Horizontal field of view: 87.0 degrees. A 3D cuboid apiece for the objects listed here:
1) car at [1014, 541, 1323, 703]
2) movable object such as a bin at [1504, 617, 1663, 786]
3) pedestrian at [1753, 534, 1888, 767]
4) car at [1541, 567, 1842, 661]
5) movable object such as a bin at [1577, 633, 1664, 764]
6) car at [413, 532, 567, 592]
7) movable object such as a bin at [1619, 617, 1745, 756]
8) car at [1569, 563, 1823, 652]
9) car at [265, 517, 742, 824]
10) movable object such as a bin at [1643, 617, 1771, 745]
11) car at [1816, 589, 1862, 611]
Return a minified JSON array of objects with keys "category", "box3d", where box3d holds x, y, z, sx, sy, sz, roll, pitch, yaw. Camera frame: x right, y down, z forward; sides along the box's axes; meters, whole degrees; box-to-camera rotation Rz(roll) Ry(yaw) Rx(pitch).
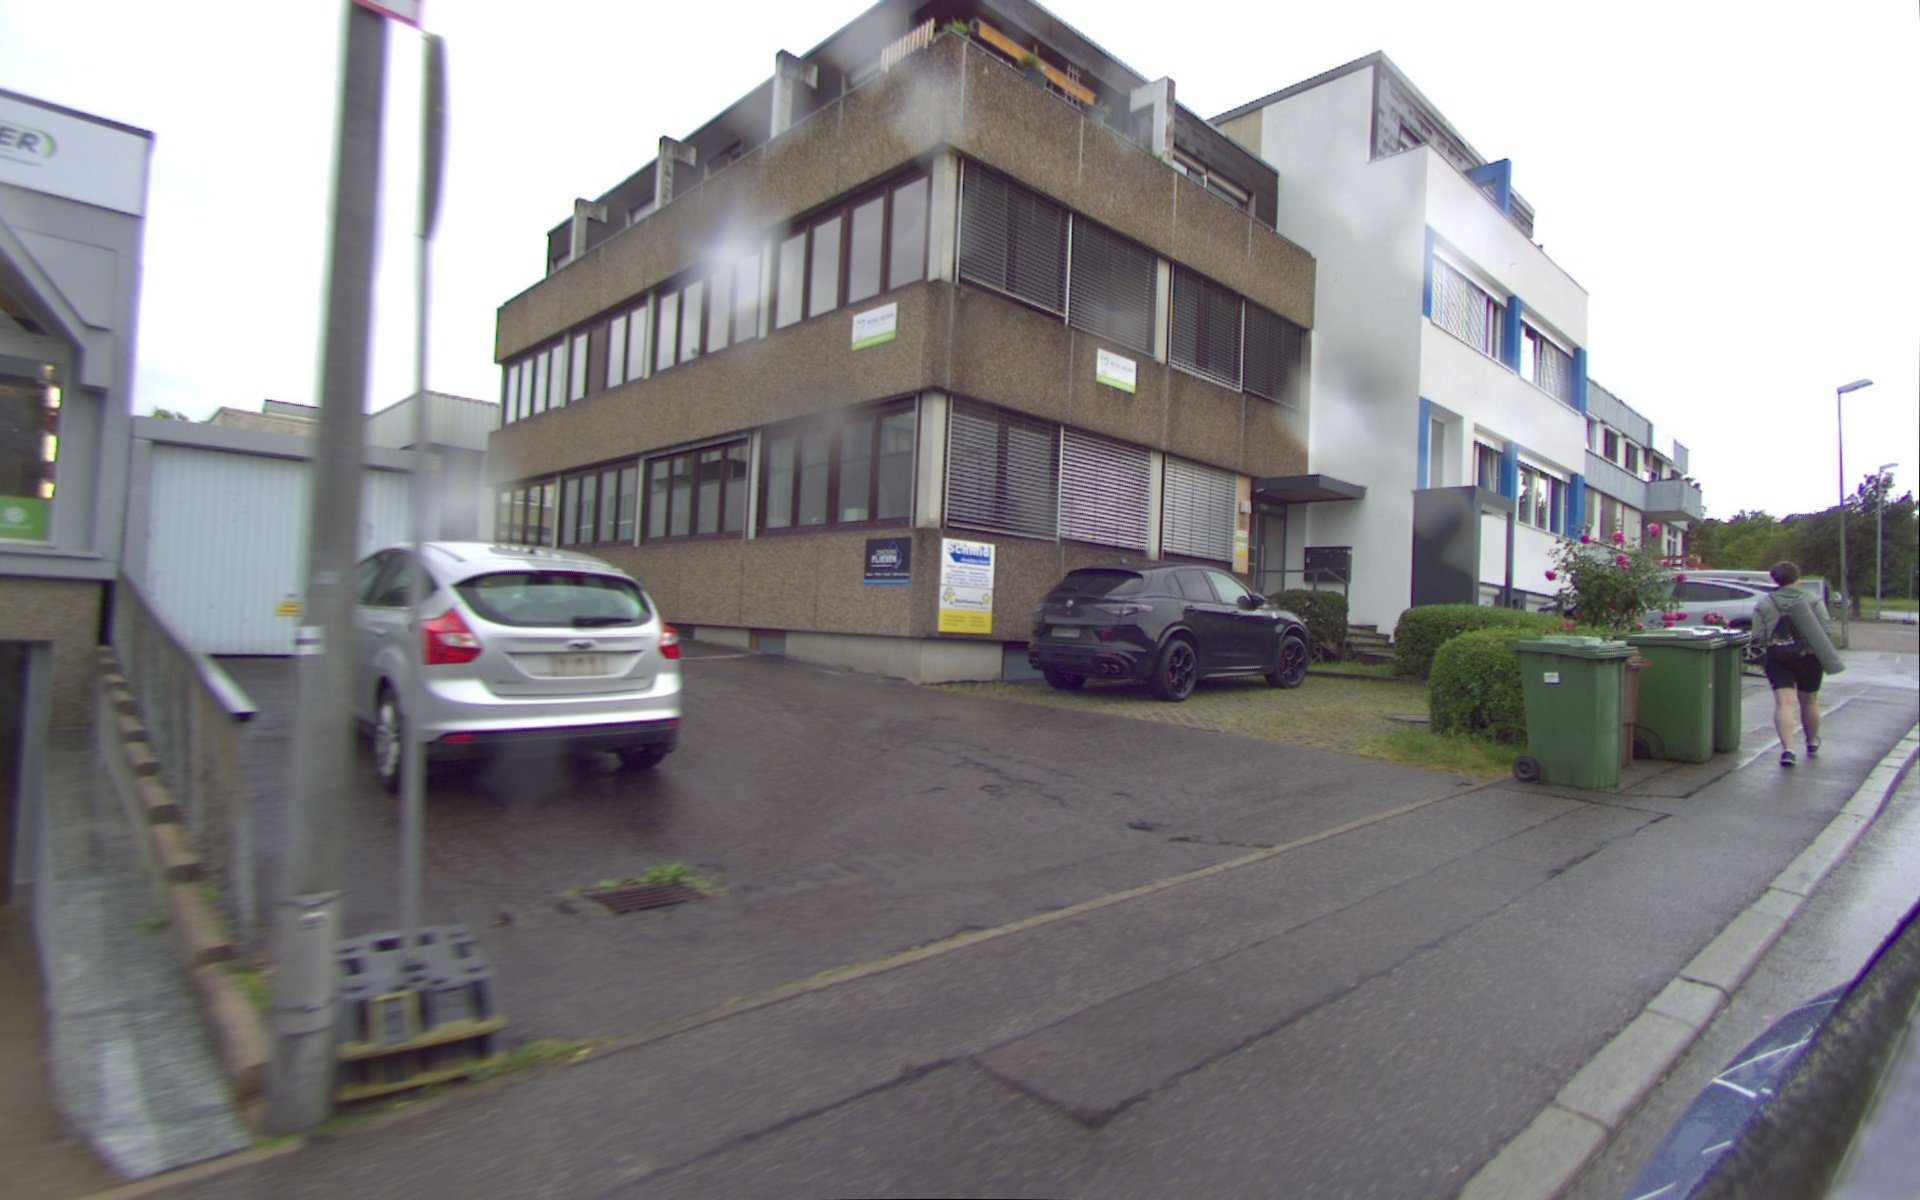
[{"category":"car","box3d":[2.847,0.188,13.178,4.399,1.771,1.750,-1,2,-44]},{"category":"movable object such as a bin","box3d":[4.536,0.700,7.384,0.689,1.127,0.732,0,0,-27]},{"category":"pedestrian","box3d":[7.070,0.383,8.315,0.794,1.789,0.738,0,1,-42]},{"category":"car","box3d":[14.624,0.199,20.441,2.044,1.557,4.603,0,3,-43]},{"category":"movable object such as a bin","box3d":[5.312,0.773,8.138,0.505,0.979,0.473,0,0,-42]},{"category":"car","box3d":[-13.755,-1.101,29.805,1.846,1.587,3.795,4,3,27]},{"category":"movable object such as a bin","box3d":[6.092,0.699,8.549,0.626,1.080,0.744,0,0,-42]},{"category":"car","box3d":[16.519,0.095,22.858,2.055,1.795,4.344,0,2,-44]},{"category":"car","box3d":[-3.555,0.231,7.440,1.970,1.593,4.126,-1,4,-43]},{"category":"movable object such as a bin","box3d":[6.649,0.688,9.010,0.794,1.043,0.773,0,0,-42]},{"category":"car","box3d":[75.490,-0.044,86.945,1.799,1.748,4.611,1,2,26]}]
